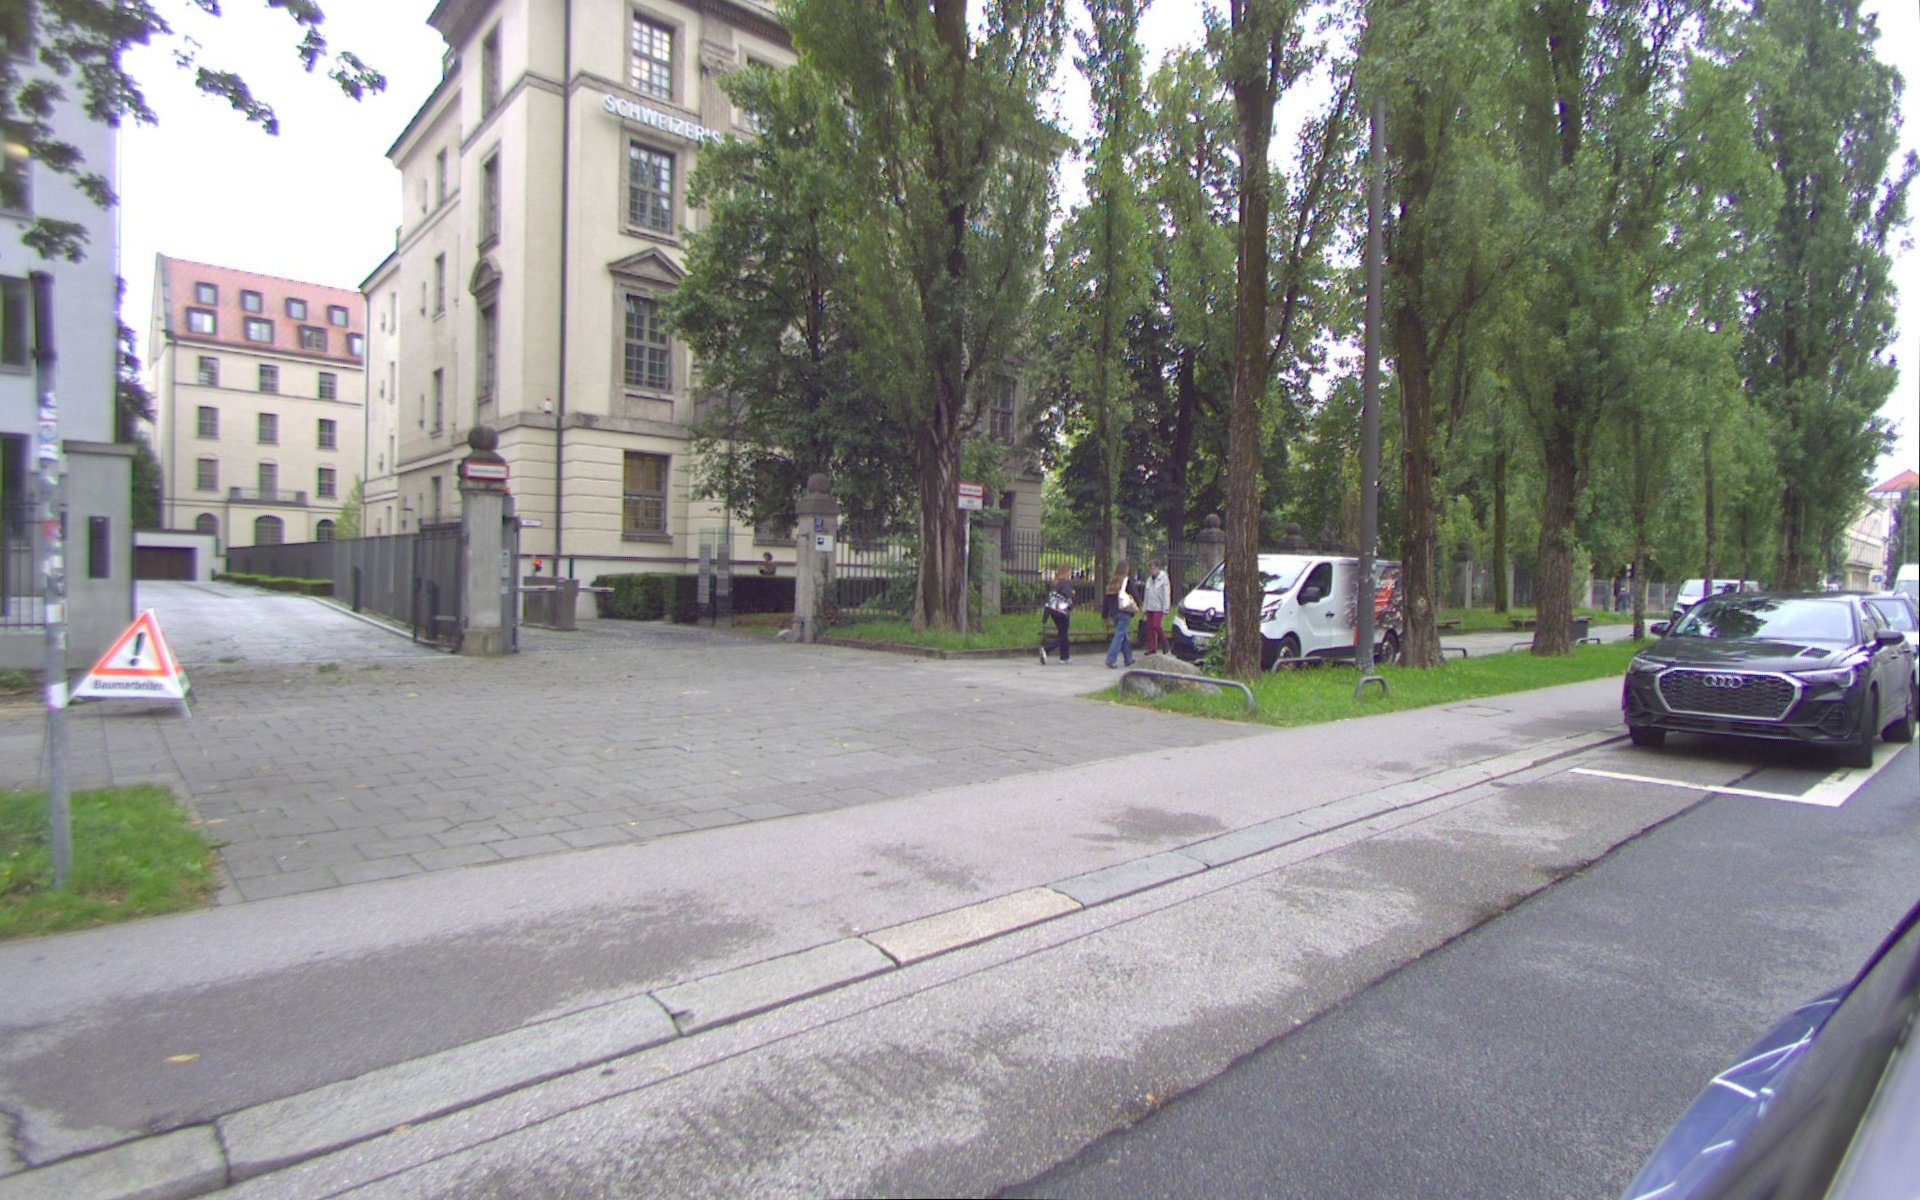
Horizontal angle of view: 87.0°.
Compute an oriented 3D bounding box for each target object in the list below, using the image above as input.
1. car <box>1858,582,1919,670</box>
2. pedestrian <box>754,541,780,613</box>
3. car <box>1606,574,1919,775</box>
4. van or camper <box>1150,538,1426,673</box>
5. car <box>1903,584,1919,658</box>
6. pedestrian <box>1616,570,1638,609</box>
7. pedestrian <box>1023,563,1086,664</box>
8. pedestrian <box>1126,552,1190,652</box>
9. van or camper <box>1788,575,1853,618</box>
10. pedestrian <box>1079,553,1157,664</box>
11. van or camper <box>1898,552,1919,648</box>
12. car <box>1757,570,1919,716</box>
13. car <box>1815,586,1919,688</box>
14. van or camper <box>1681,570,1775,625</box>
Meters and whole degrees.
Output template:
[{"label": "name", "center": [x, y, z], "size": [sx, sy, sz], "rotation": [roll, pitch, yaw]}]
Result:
[{"label": "car", "center": [19.676, 0.495, 20.435], "size": [4.558, 1.638, 1.787], "rotation": [0, 1, -42]}, {"label": "pedestrian", "center": [-5.517, -0.653, 28.875], "size": [0.536, 2.038, 0.456], "rotation": [0, 1, -41]}, {"label": "car", "center": [8.268, 0.577, 10.114], "size": [4.386, 1.560, 1.884], "rotation": [0, 1, -41]}, {"label": "van or camper", "center": [5.709, 0.070, 17.235], "size": [5.275, 1.958, 2.080], "rotation": [0, 0, -41]}, {"label": "car", "center": [23.572, 0.498, 23.808], "size": [4.344, 1.669, 1.786], "rotation": [0, 1, -44]}, {"label": "pedestrian", "center": [35.907, -0.566, 54.469], "size": [0.898, 2.038, 0.946], "rotation": [2, 1, 33]}, {"label": "pedestrian", "center": [1.548, 0.201, 16.586], "size": [0.852, 1.598, 0.568], "rotation": [0, 2, -42]}, {"label": "pedestrian", "center": [3.717, 0.027, 18.973], "size": [0.852, 1.791, 0.723], "rotation": [0, 4, -41]}, {"label": "van or camper", "center": [43.327, -0.184, 50.921], "size": [4.902, 2.039, 2.005], "rotation": [0, 0, -43]}, {"label": "pedestrian", "center": [2.581, 0.117, 16.557], "size": [0.852, 1.738, 0.855], "rotation": [0, 2, -42]}, {"label": "van or camper", "center": [28.438, 0.012, 28.642], "size": [6.306, 2.572, 2.142], "rotation": [0, 1, -42]}, {"label": "car", "center": [12.555, 0.497, 13.904], "size": [4.501, 1.696, 1.746], "rotation": [0, 1, -42]}, {"label": "car", "center": [16.073, 0.578, 17.245], "size": [4.221, 1.539, 1.705], "rotation": [0, 1, -42]}, {"label": "van or camper", "center": [29.020, -0.098, 38.191], "size": [4.952, 1.958, 1.978], "rotation": [0, 0, -42]}]
